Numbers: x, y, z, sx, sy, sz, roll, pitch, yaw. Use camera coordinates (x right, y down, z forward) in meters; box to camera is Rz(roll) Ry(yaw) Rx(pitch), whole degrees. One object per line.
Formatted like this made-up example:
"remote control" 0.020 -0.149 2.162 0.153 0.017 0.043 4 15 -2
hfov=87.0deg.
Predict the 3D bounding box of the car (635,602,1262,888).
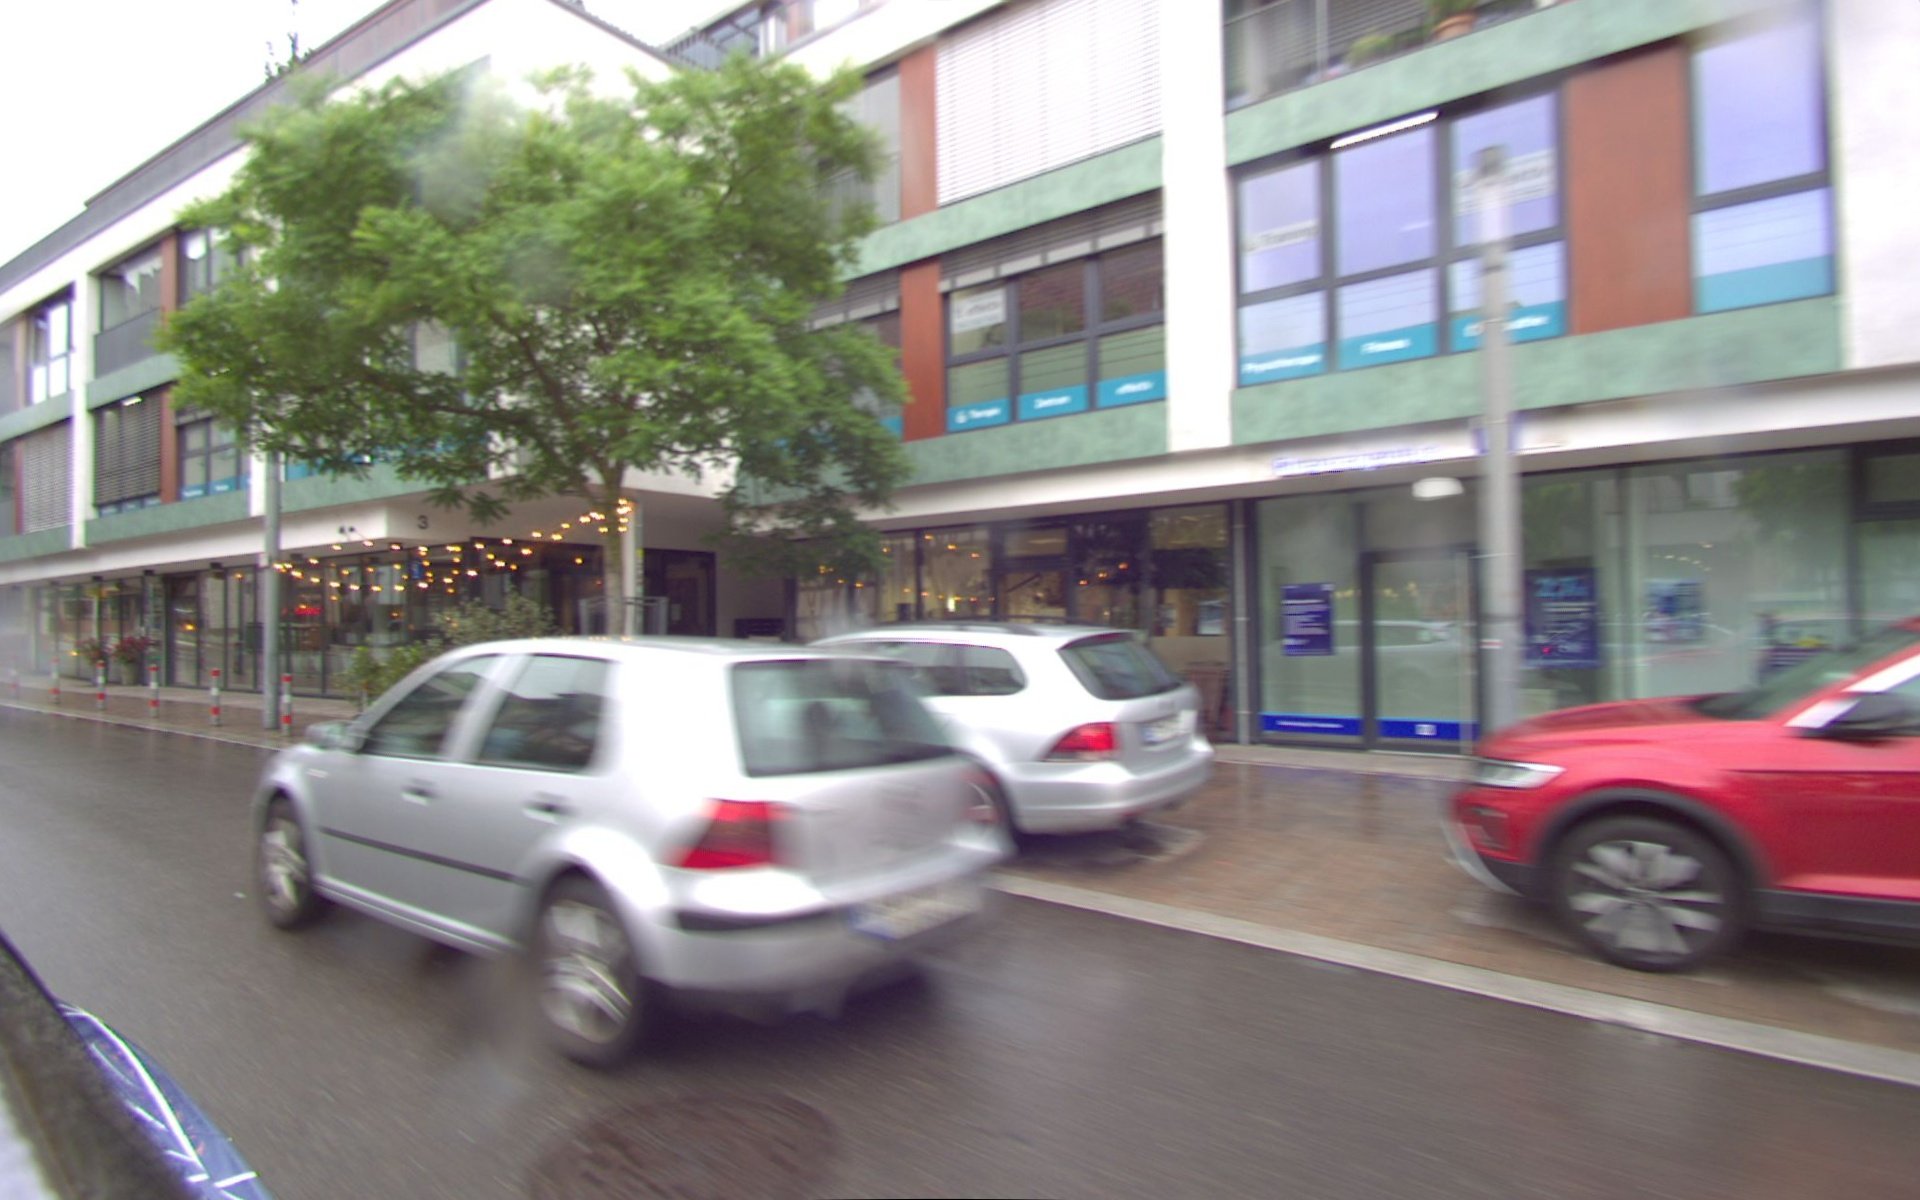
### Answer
"car" -0.270 0.817 7.419 4.446 1.510 1.770 -1 -2 37

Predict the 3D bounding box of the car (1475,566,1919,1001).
"car" 4.501 0.683 4.069 4.099 1.588 1.770 -1 -2 37

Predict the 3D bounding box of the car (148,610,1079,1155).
"car" -1.669 0.817 4.513 4.015 1.428 1.776 -1 -4 32
